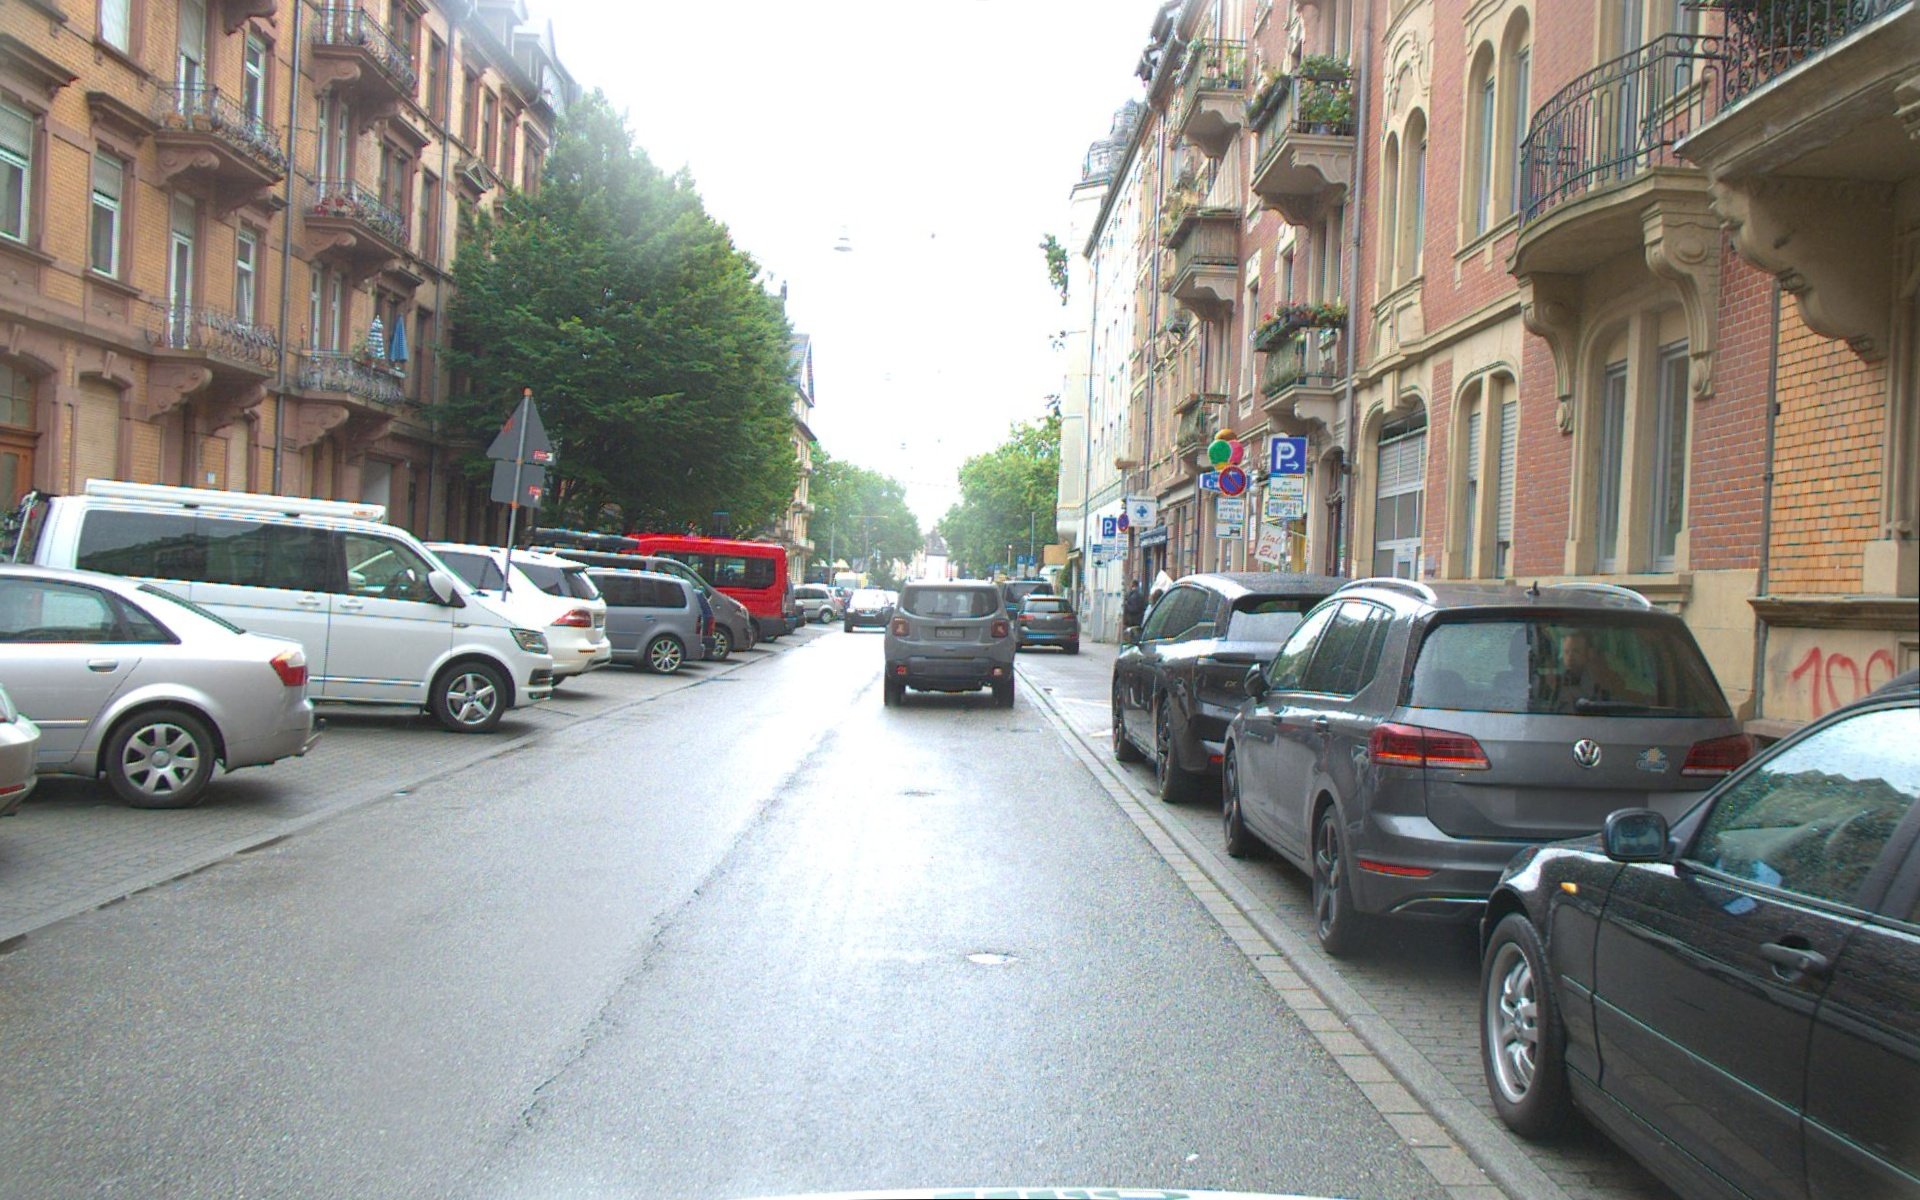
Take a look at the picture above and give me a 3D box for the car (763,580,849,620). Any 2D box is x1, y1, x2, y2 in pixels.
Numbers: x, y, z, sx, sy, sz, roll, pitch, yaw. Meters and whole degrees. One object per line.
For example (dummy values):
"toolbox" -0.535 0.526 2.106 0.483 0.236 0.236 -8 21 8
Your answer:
"car" -6.679 0.000 71.903 3.345 1.683 1.615 1 0 -34

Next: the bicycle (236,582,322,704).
"bicycle" -7.427 0.441 17.992 0.537 1.195 2.023 3 0 -31

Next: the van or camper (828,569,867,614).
"van or camper" -7.119 -0.479 105.681 2.078 2.575 6.872 -2 -2 -1

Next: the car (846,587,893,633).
"car" -3.330 0.350 60.937 1.636 1.586 4.001 2 0 -3

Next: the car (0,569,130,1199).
"car" -2.264 0.709 0.462 1.759 1.520 4.582 1 0 -1

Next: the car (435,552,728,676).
"car" -6.292 0.240 27.575 4.379 1.658 1.829 5 0 -27

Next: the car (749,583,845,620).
"car" -6.786 0.065 69.021 3.673 1.477 1.664 1 0 -36

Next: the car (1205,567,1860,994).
"car" 2.496 0.673 8.453 1.833 1.589 4.345 1 0 0

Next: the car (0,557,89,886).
"car" -6.285 0.477 7.627 3.867 1.521 1.942 3 0 -32

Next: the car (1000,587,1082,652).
"car" 2.094 0.489 43.678 1.804 1.572 4.002 2 0 -2

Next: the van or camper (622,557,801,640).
"van or camper" -6.664 -0.019 44.570 4.395 2.009 1.761 3 0 -34

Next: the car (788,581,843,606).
"car" -10.583 -0.472 121.380 3.625 1.586 1.776 4 -1 -37

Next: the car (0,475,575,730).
"car" -6.515 0.083 15.863 5.170 2.114 1.855 3 -1 -26

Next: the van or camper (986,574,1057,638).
"van or camper" 1.918 0.170 53.115 1.980 1.924 5.054 1 0 -1

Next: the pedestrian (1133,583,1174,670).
"pedestrian" 3.733 0.508 31.882 0.665 1.642 0.810 1 0 0

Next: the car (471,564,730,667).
"car" -6.519 0.290 30.022 4.285 1.530 1.743 4 0 -24

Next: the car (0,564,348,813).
"car" -6.131 0.507 10.530 3.944 1.461 1.767 3 0 -30

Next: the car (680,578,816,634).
"car" -6.667 0.197 52.220 3.943 1.472 1.742 4 0 -41

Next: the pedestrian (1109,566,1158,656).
"pedestrian" 4.066 0.260 38.731 0.667 1.968 0.807 1 -11 34

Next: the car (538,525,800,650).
"car" -6.706 -0.260 38.269 5.492 2.585 2.209 3 0 -29

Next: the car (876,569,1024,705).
"car" -0.193 0.472 23.566 1.860 1.700 4.504 2 0 -2

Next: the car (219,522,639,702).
"car" -6.680 0.143 21.342 4.487 1.816 2.545 5 0 -2

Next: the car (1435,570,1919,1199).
"car" 2.458 0.742 3.225 1.750 1.492 4.483 2 -2 0

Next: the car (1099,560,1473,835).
"car" 2.408 0.656 13.579 1.953 1.810 4.825 2 0 -2

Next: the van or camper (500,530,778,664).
"van or camper" -6.397 -0.055 32.996 4.949 2.390 2.325 3 0 -27
